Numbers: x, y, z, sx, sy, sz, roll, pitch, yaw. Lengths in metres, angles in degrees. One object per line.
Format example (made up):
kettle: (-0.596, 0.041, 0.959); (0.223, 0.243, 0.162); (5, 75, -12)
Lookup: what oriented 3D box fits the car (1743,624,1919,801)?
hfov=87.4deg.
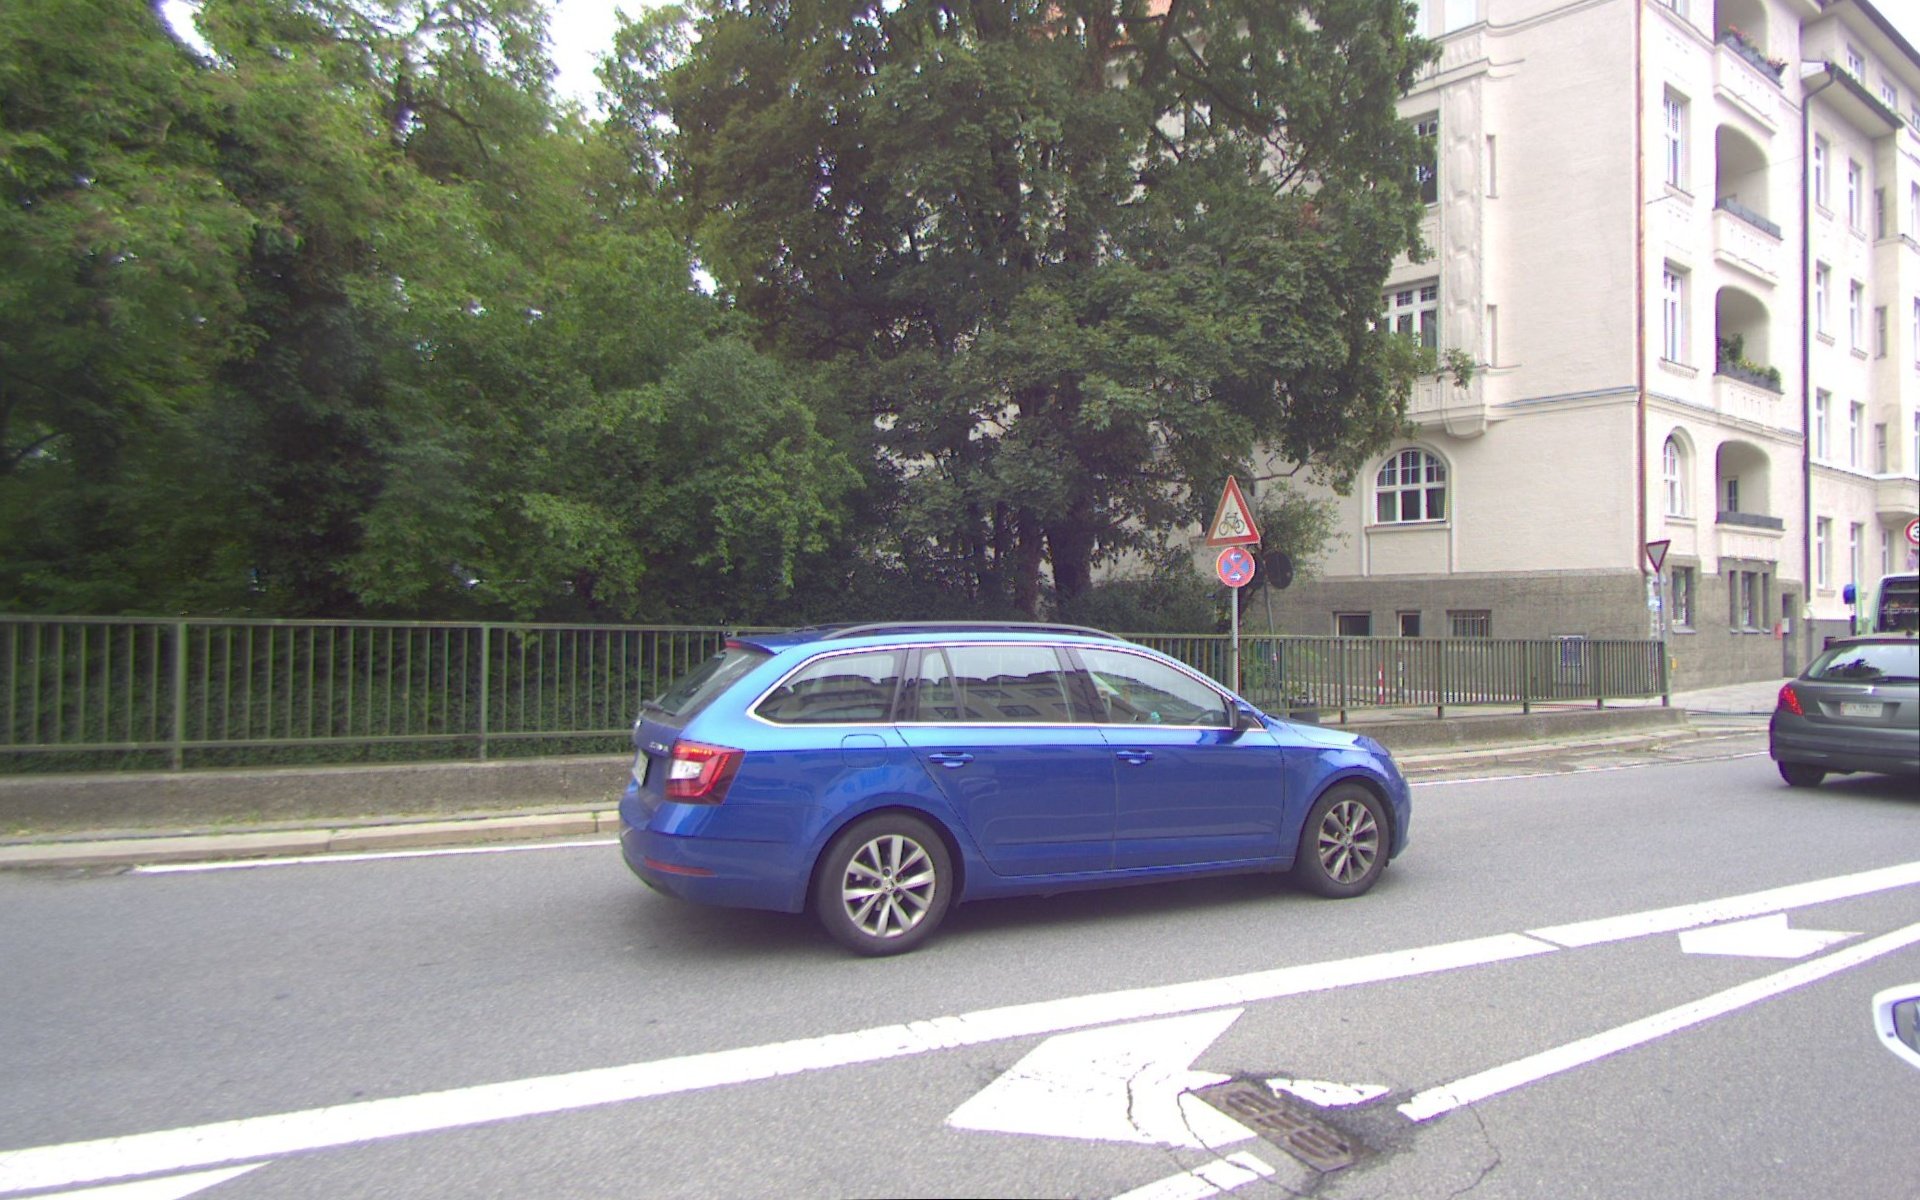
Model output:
car: (9.671, 0.976, 9.614); (4.017, 1.480, 1.754); (1, -2, -24)

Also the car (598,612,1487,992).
car: (0.450, 0.835, 5.713); (4.665, 1.473, 1.984); (1, -2, -22)

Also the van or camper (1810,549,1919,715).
van or camper: (19.075, 0.549, 19.218); (6.117, 2.878, 2.586); (0, -1, -33)
